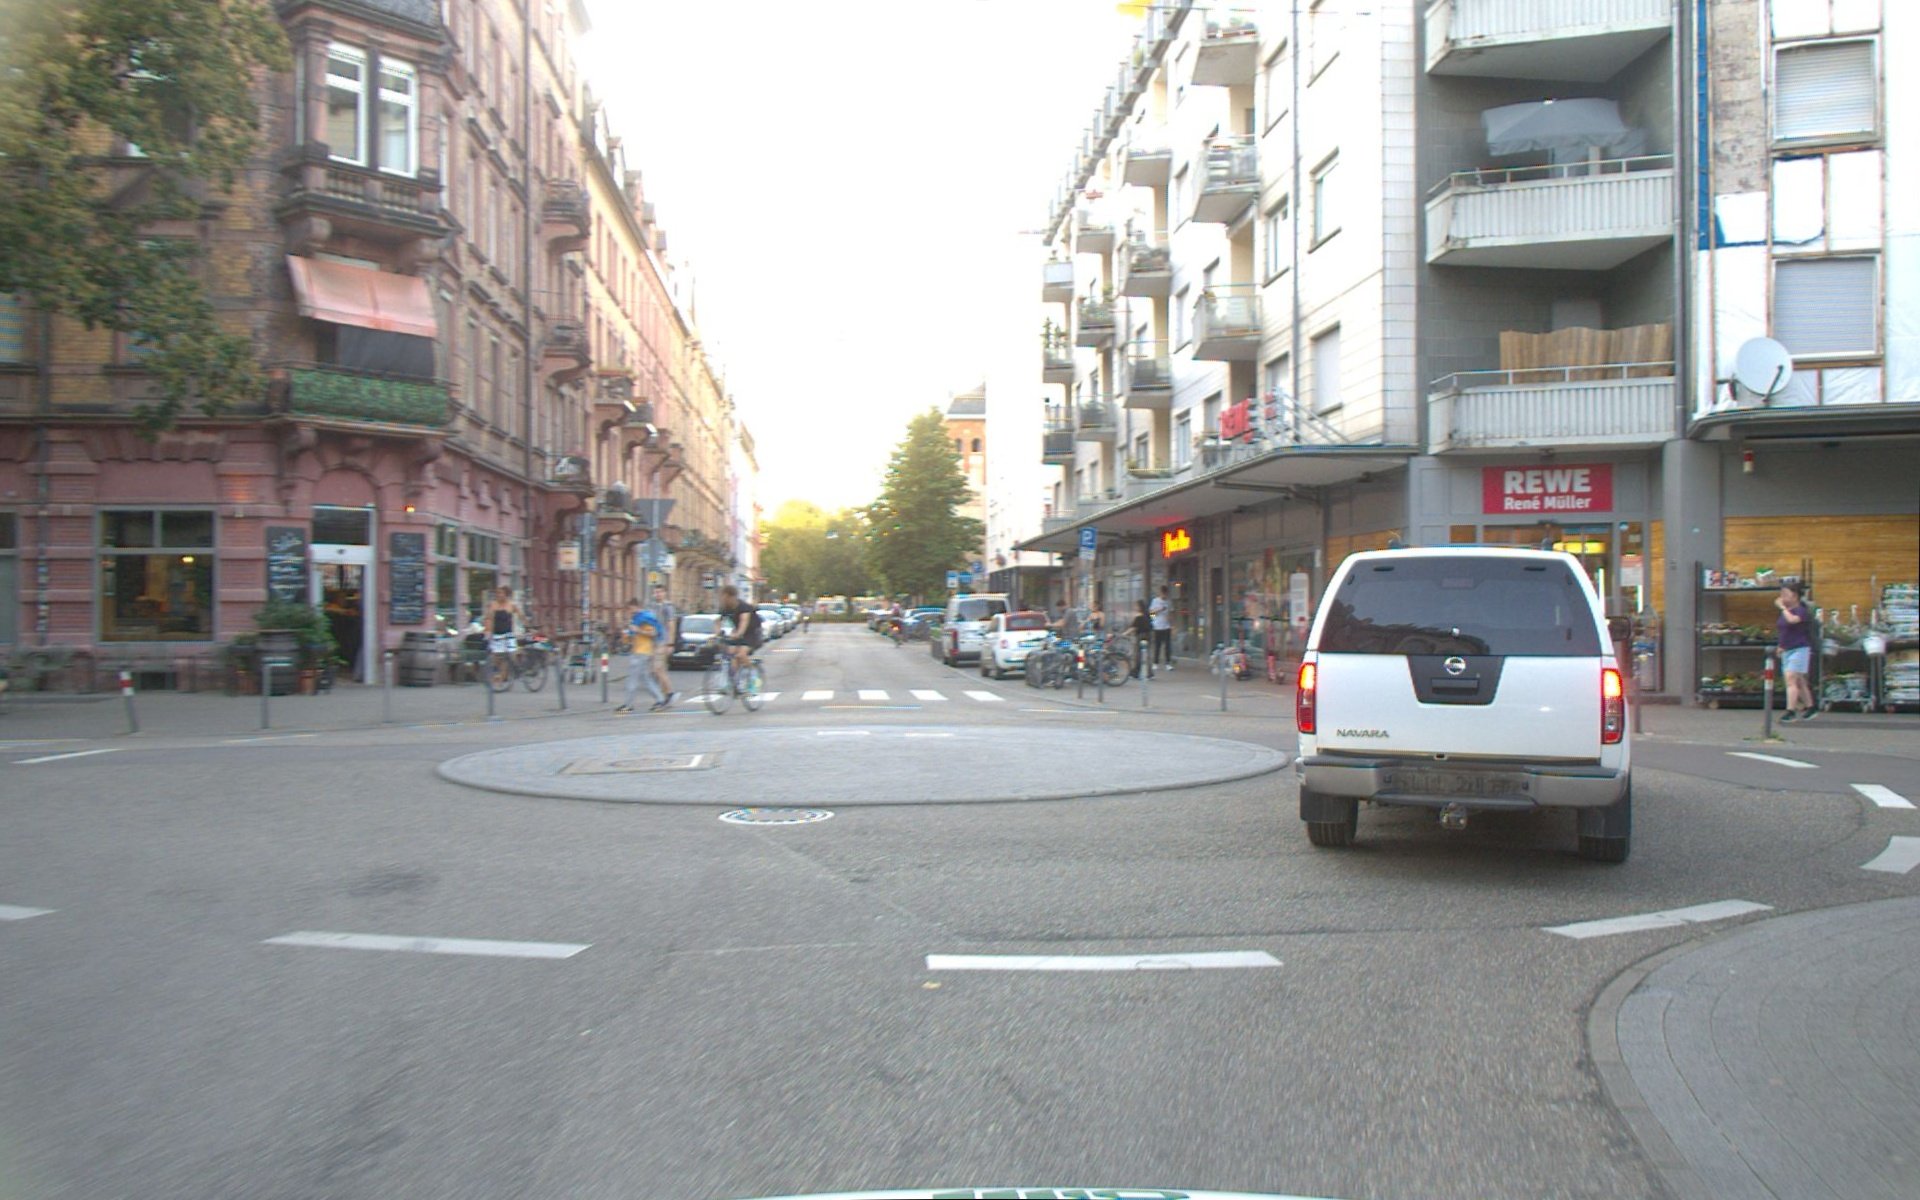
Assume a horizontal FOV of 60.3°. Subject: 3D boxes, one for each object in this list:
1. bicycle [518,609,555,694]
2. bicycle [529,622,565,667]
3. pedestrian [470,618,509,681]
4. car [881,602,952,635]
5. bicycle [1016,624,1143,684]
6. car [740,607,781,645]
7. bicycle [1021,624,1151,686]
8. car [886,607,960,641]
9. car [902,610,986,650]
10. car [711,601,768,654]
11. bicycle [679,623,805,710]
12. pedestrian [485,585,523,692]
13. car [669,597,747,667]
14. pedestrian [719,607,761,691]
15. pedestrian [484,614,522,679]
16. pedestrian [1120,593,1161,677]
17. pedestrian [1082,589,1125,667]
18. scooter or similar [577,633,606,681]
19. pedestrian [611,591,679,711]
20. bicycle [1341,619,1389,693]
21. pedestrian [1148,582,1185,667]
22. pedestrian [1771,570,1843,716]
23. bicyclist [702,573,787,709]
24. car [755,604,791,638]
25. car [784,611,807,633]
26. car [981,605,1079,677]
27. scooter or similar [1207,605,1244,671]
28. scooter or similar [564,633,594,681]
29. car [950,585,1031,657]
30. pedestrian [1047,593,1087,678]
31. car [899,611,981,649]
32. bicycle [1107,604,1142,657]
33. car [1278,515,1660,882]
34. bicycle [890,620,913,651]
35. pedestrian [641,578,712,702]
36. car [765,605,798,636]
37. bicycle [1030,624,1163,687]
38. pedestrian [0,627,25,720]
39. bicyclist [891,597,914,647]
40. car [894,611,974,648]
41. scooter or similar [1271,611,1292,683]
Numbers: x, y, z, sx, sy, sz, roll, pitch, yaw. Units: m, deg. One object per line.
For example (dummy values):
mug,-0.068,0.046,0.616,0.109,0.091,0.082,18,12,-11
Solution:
bicycle,-7.580,0.899,29.627,0.416,1.468,1.900,1,-1,-8
bicycle,-10.106,1.081,40.555,0.379,1.055,2.480,1,-1,-3
pedestrian,-9.216,0.968,32.400,0.636,1.212,0.539,1,-1,-8
car,-2.487,1.071,94.134,3.909,1.780,1.838,1,-1,-5
bicycle,2.370,1.067,32.922,2.416,1.056,0.615,-3,-1,-10
car,-9.704,1.286,80.631,1.799,1.780,3.995,1,-1,-5
bicycle,2.457,1.057,32.258,2.416,1.056,0.615,-3,-1,-10
car,-2.064,1.333,91.232,3.909,1.780,1.838,1,-1,-5
car,-0.783,1.441,79.128,3.909,1.780,1.838,1,-1,-5
car,-7.798,0.971,58.749,1.799,1.780,4.158,1,-1,-5
bicycle,-3.109,0.943,23.814,0.822,1.192,1.933,0,-1,28
pedestrian,-8.090,0.681,29.331,0.498,1.872,0.568,2,-1,-27
car,-6.760,0.859,44.744,1.799,1.780,3.995,1,-1,-5
pedestrian,-4.423,0.974,33.307,0.782,1.649,0.943,1,-1,-7
pedestrian,-9.273,0.939,33.585,0.636,1.308,0.539,1,-1,-8
pedestrian,3.702,0.718,33.934,0.705,1.692,0.702,1,-1,-4
pedestrian,3.170,0.615,36.512,0.708,1.692,0.699,1,-1,-17
scooter or similar,-7.542,1.163,33.837,0.230,0.945,1.254,2,-1,-29
pedestrian,-4.751,0.764,24.989,0.885,1.767,0.615,1,-1,-2
bicycle,6.393,0.874,26.112,0.284,1.132,0.962,1,-1,-16
pedestrian,4.746,0.564,38.082,0.705,1.940,0.702,1,-1,-4
pedestrian,10.005,0.497,19.562,0.701,1.681,0.713,1,-1,23
bicyclist,-3.100,0.585,23.842,0.822,1.909,0.877,0,-1,28
car,-10.132,1.136,89.926,1.799,1.780,3.995,1,-1,-5
car,-13.647,1.839,137.390,1.799,1.780,3.995,1,-1,-5
car,1.603,0.953,39.116,1.799,1.569,3.995,1,-1,-5
scooter or similar,5.472,0.773,34.137,0.431,1.313,1.667,1,-1,-2
scooter or similar,-7.765,1.157,33.704,0.230,0.945,1.254,2,-1,-29
car,0.840,0.621,47.861,1.905,1.967,3.995,1,-1,-5
pedestrian,2.189,0.727,33.833,0.705,1.692,0.702,1,-1,-4
car,-1.003,1.474,81.353,3.909,1.780,1.838,1,-1,-5
bicycle,4.586,0.841,46.228,0.545,1.432,2.092,1,-1,-6
car,3.502,0.457,10.973,1.898,1.841,5.001,1,1,21
bicycle,-2.352,1.429,66.453,0.822,1.192,1.933,1,-1,-5
pedestrian,-4.451,0.626,25.960,0.896,1.918,0.608,2,-2,-35
car,-10.544,1.227,97.722,1.799,1.780,3.995,1,-1,-5
bicycle,2.607,1.057,31.589,2.416,1.056,0.615,-3,-1,-9
pedestrian,-13.691,1.021,23.217,0.739,1.285,0.667,1,-1,-5
bicyclist,-2.310,0.886,66.416,0.822,1.978,0.784,1,-1,-6
car,-1.322,1.513,83.994,3.909,1.780,1.838,1,-1,-5
scooter or similar,5.871,0.844,30.226,0.214,1.259,0.966,1,1,3
